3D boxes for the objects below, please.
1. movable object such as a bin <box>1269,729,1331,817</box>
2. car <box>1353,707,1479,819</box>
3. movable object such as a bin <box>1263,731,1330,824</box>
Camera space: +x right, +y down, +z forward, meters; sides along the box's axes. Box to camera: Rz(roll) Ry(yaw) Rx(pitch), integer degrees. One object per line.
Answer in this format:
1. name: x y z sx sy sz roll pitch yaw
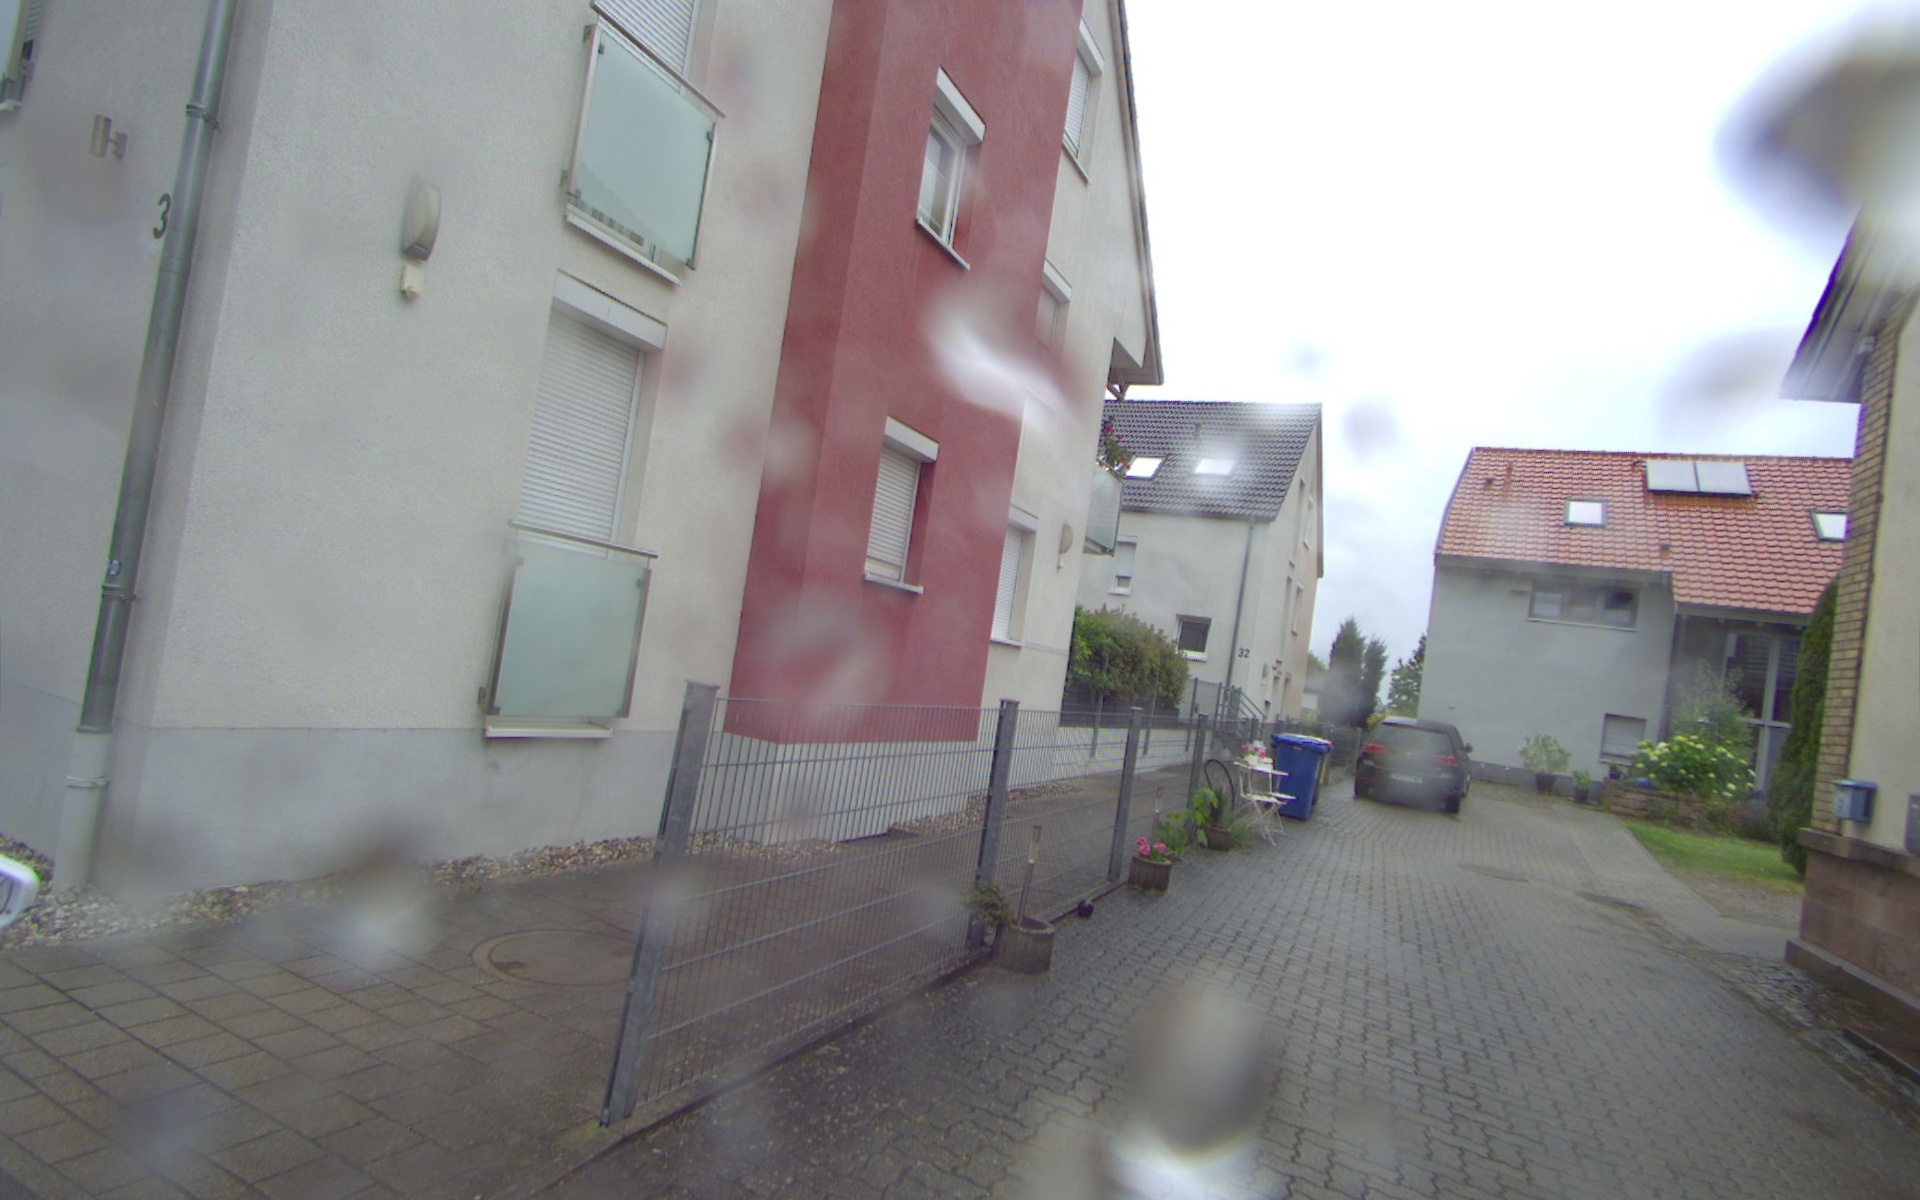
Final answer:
1. movable object such as a bin: 4.822 2.440 14.256 0.675 1.108 0.536 7 -2 25
2. car: 8.556 2.914 18.697 1.656 1.491 3.993 7 0 30
3. movable object such as a bin: 4.506 2.357 13.459 0.675 1.108 0.536 7 -2 25
